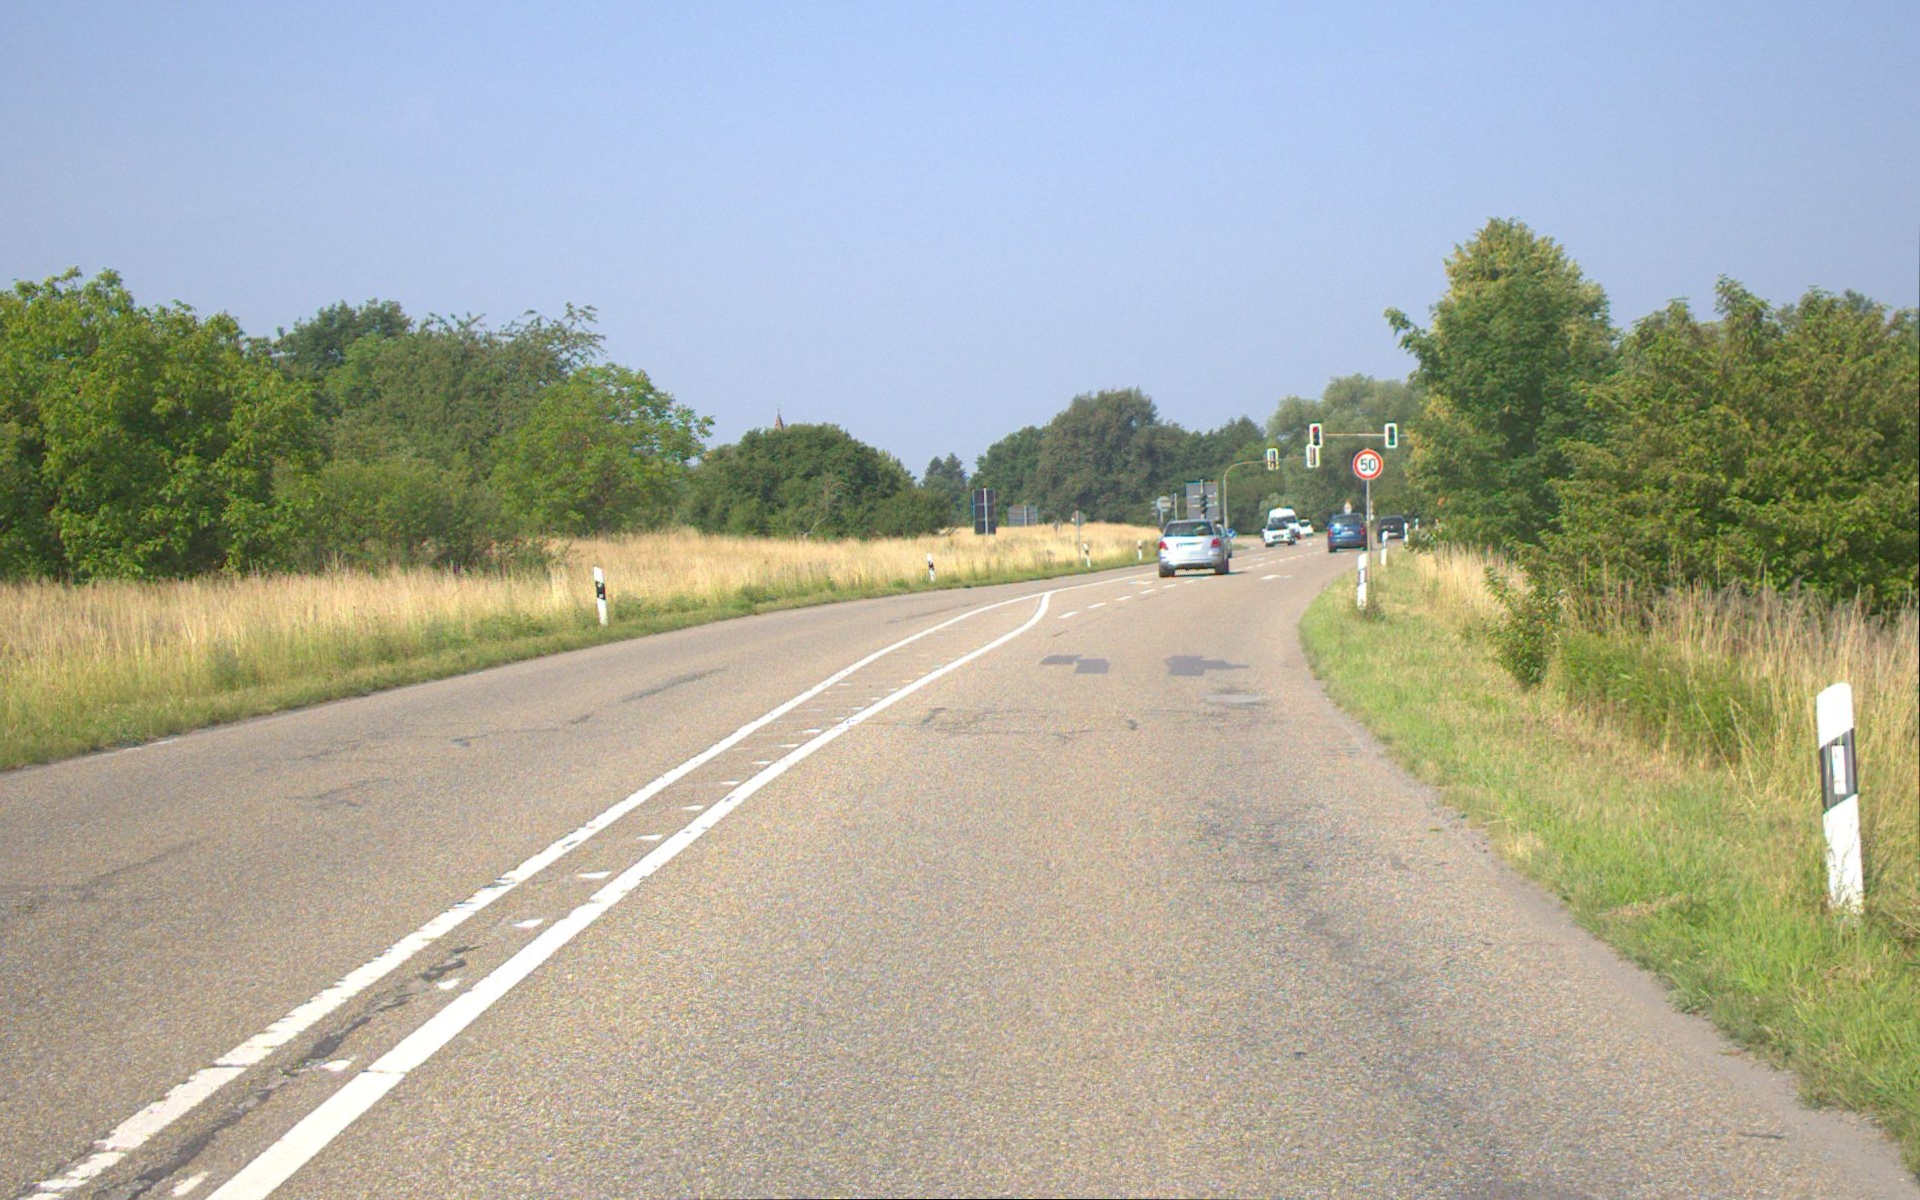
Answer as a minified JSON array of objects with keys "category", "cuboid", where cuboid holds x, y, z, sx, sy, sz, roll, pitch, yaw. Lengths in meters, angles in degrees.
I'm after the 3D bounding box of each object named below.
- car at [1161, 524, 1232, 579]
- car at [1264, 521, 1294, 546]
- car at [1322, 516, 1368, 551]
[{"category":"car","cuboid":[6.733,-1.388,98.028,1.899,1.506,4.000,1,1,2]},{"category":"car","cuboid":[22.021,-4.607,237.352,1.836,1.688,3.858,-1,1,9]},{"category":"car","cuboid":[16.884,-2.920,150.694,1.816,1.515,3.999,1,1,9]}]
